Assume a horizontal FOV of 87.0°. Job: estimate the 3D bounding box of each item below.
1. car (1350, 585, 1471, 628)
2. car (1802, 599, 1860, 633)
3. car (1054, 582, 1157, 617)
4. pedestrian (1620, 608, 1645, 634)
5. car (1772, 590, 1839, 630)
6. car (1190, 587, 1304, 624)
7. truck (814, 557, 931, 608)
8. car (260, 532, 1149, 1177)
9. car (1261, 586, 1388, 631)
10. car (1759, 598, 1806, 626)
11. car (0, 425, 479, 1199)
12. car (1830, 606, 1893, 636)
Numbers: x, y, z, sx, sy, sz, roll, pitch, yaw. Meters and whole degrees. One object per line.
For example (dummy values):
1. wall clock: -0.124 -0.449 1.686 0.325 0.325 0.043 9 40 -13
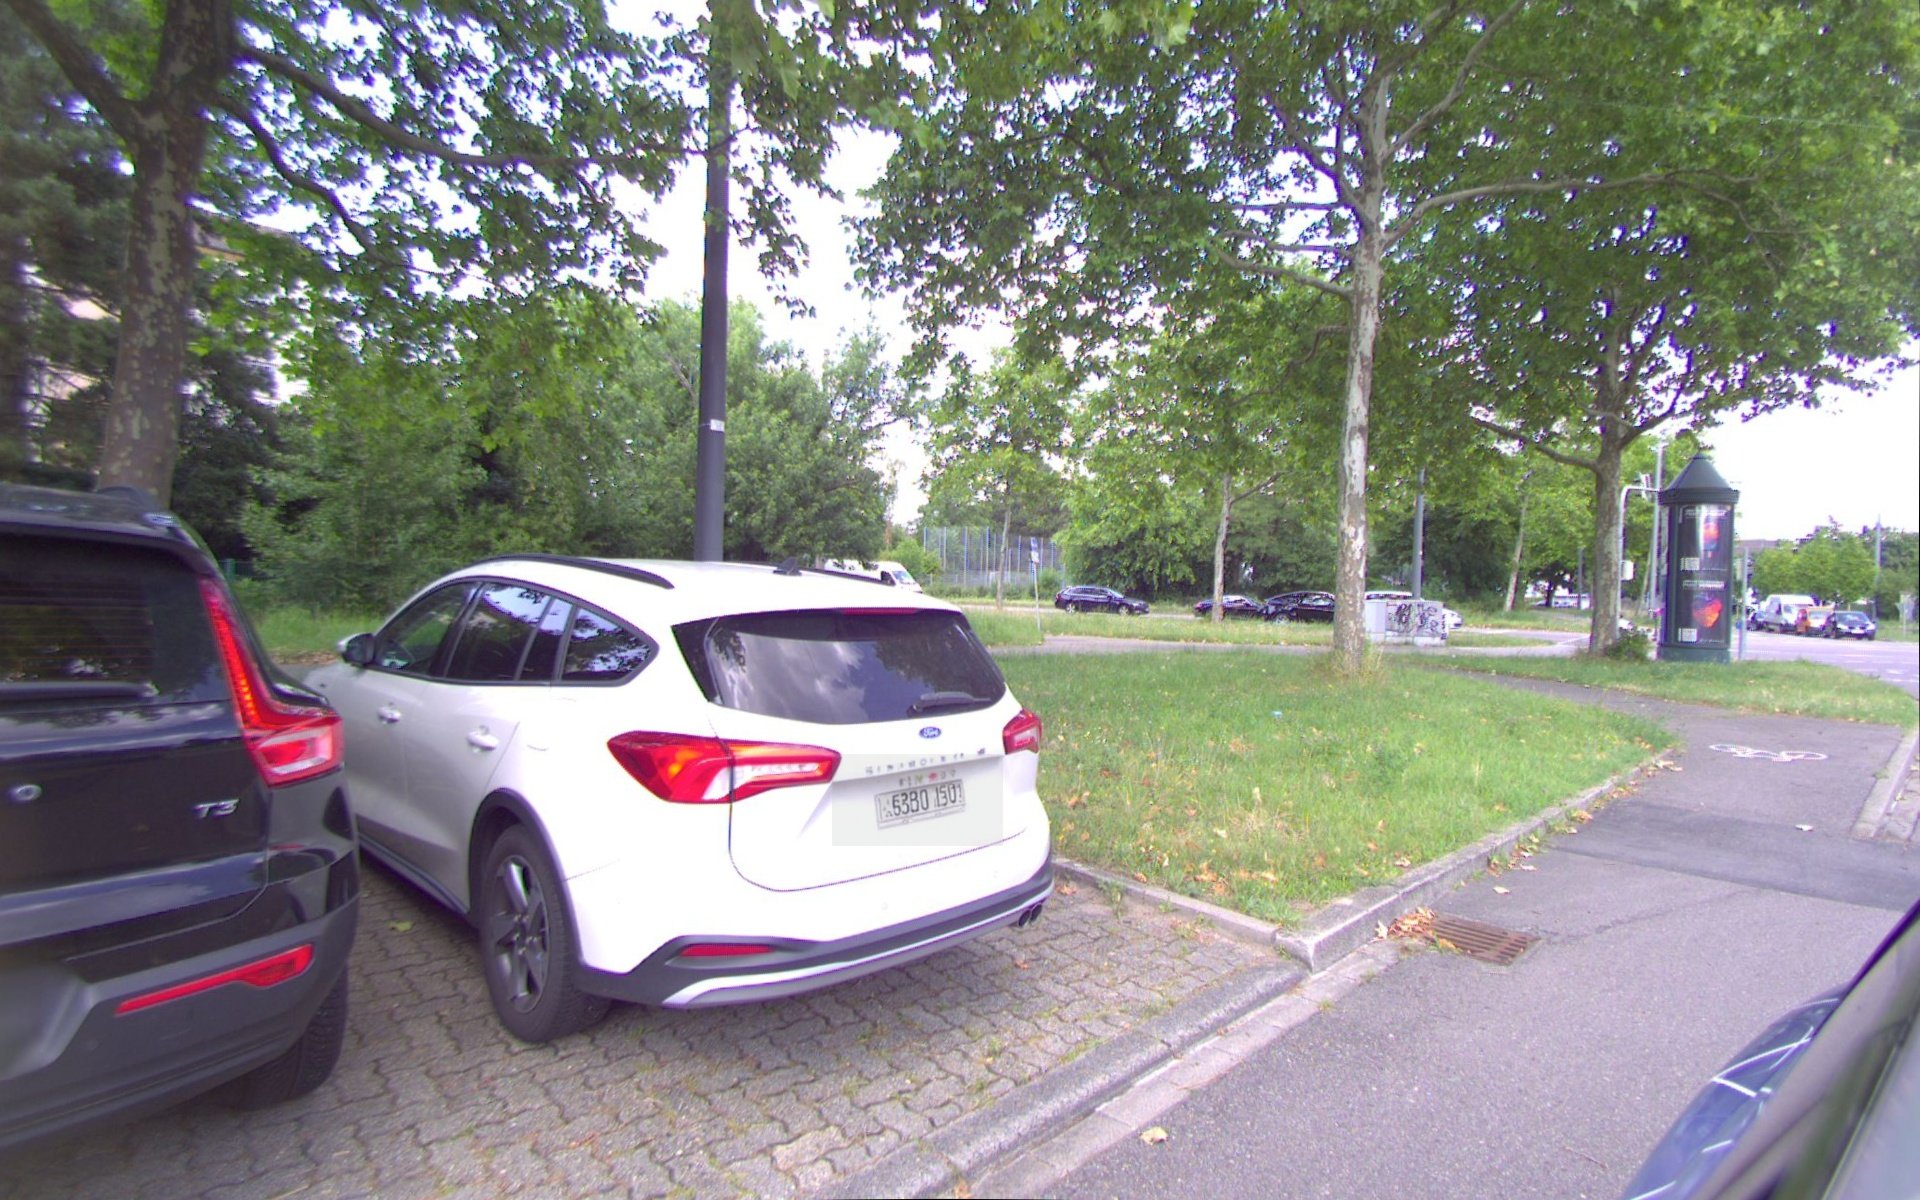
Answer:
1. car: 19.429 0.222 43.697 4.644 1.630 1.981 2 2 28
2. car: 53.336 0.937 62.071 1.780 1.959 4.324 1 1 29
3. car: 7.210 -0.064 50.271 4.644 1.532 1.981 2 2 28
4. pedestrian: 27.766 0.851 41.788 0.716 1.047 0.893 2 1 28
5. car: 56.477 0.627 67.740 2.219 2.538 5.670 1 1 28
6. car: 13.204 0.221 46.602 4.706 1.487 1.981 2 2 28
7. truck: -5.003 -1.022 57.468 6.452 2.628 2.194 2 1 29
8. car: -1.622 0.493 4.660 1.818 1.492 4.662 1 2 -45
9. car: 14.998 0.313 41.691 4.645 1.630 1.980 2 2 29
10. car: 59.115 0.830 72.767 1.780 1.959 4.325 1 1 28
11. car: -3.330 0.422 3.166 1.818 1.646 4.662 1 2 -45
12. car: 50.495 1.144 56.737 1.781 1.558 3.958 1 1 29
